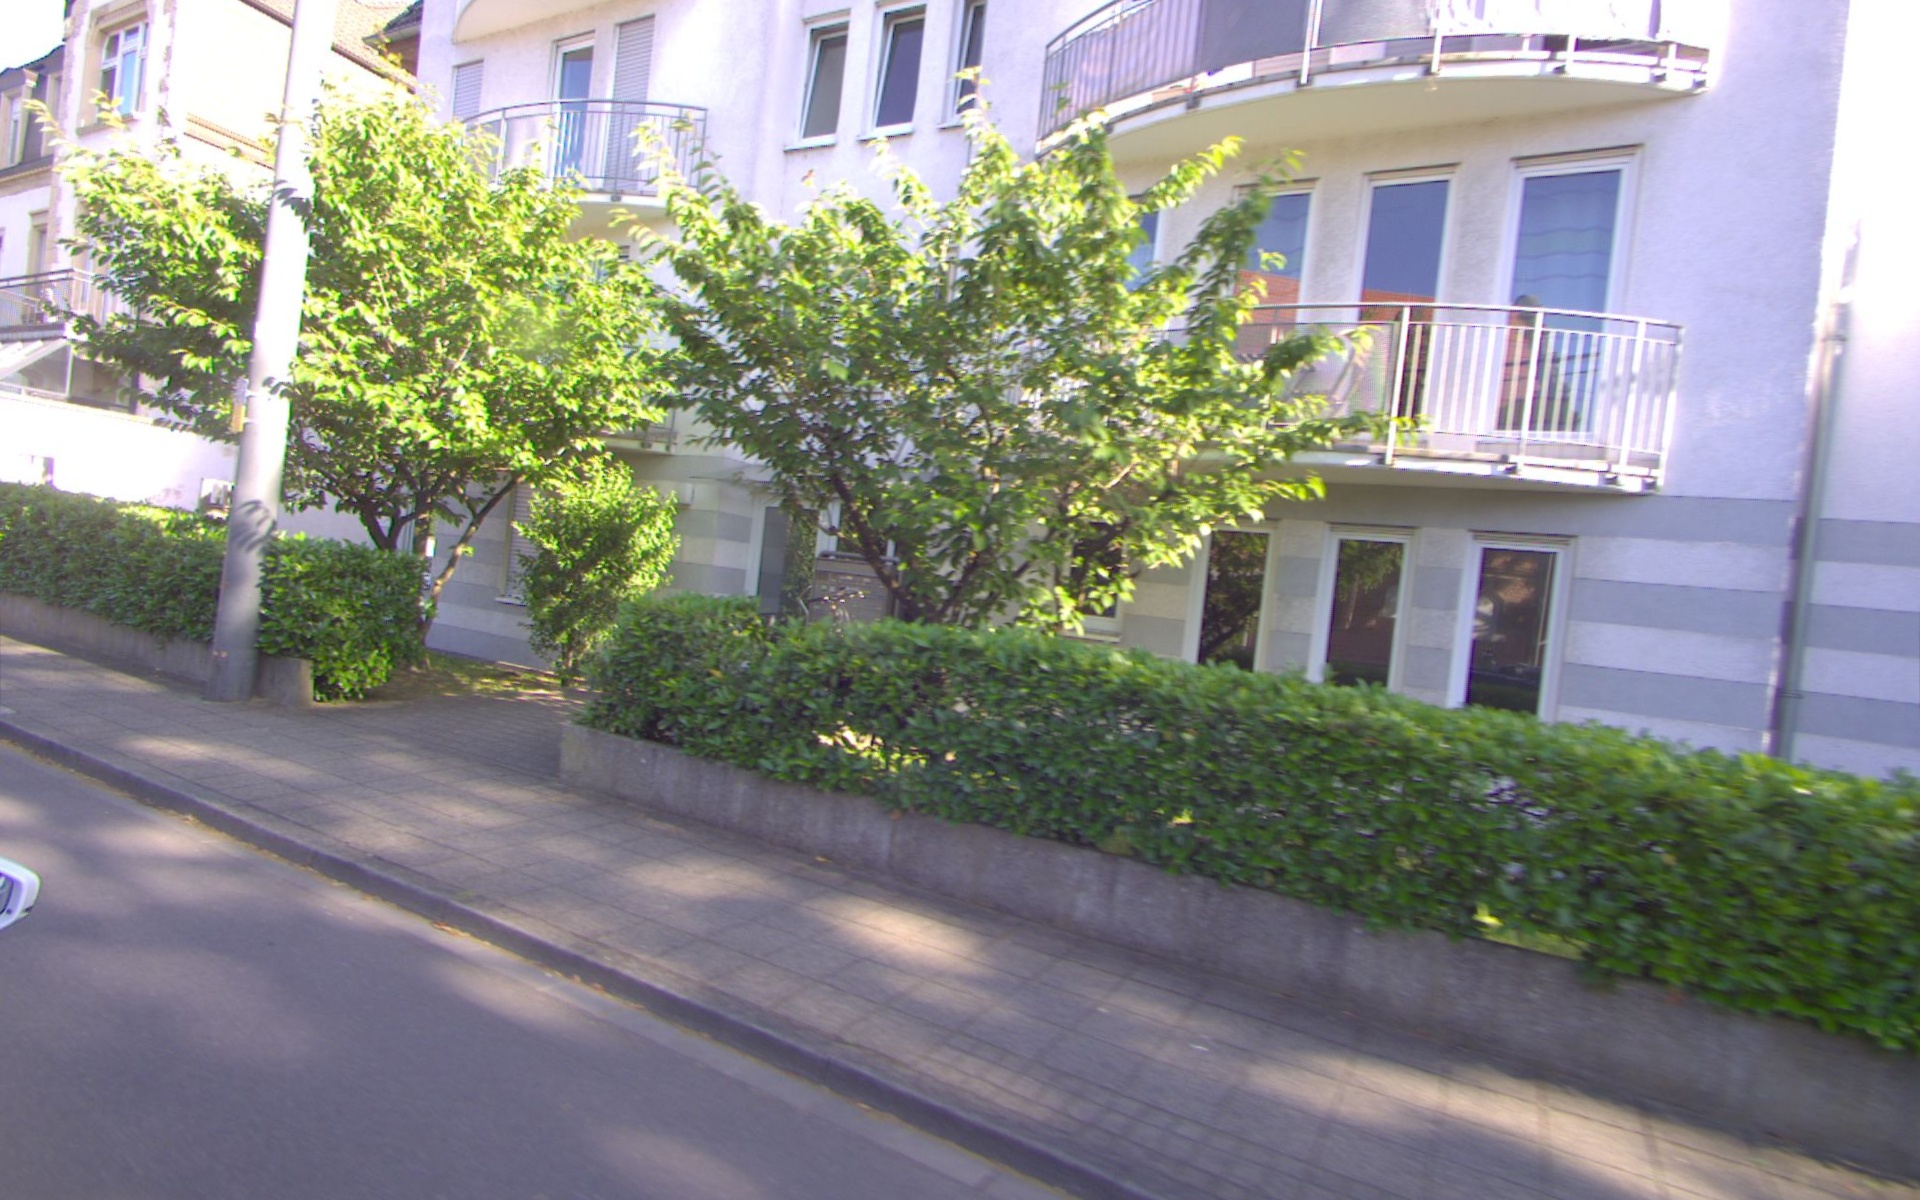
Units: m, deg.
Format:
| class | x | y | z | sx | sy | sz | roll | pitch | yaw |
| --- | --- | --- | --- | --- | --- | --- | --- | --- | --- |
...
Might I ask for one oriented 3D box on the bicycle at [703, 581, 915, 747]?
| class | x | y | z | sx | sy | sz | roll | pitch | yaw |
| --- | --- | --- | --- | --- | --- | --- | --- | --- | --- |
| bicycle | -1.258 | 0.501 | 8.795 | 0.811 | 1.220 | 1.841 | 6 | 3 | 28 |
